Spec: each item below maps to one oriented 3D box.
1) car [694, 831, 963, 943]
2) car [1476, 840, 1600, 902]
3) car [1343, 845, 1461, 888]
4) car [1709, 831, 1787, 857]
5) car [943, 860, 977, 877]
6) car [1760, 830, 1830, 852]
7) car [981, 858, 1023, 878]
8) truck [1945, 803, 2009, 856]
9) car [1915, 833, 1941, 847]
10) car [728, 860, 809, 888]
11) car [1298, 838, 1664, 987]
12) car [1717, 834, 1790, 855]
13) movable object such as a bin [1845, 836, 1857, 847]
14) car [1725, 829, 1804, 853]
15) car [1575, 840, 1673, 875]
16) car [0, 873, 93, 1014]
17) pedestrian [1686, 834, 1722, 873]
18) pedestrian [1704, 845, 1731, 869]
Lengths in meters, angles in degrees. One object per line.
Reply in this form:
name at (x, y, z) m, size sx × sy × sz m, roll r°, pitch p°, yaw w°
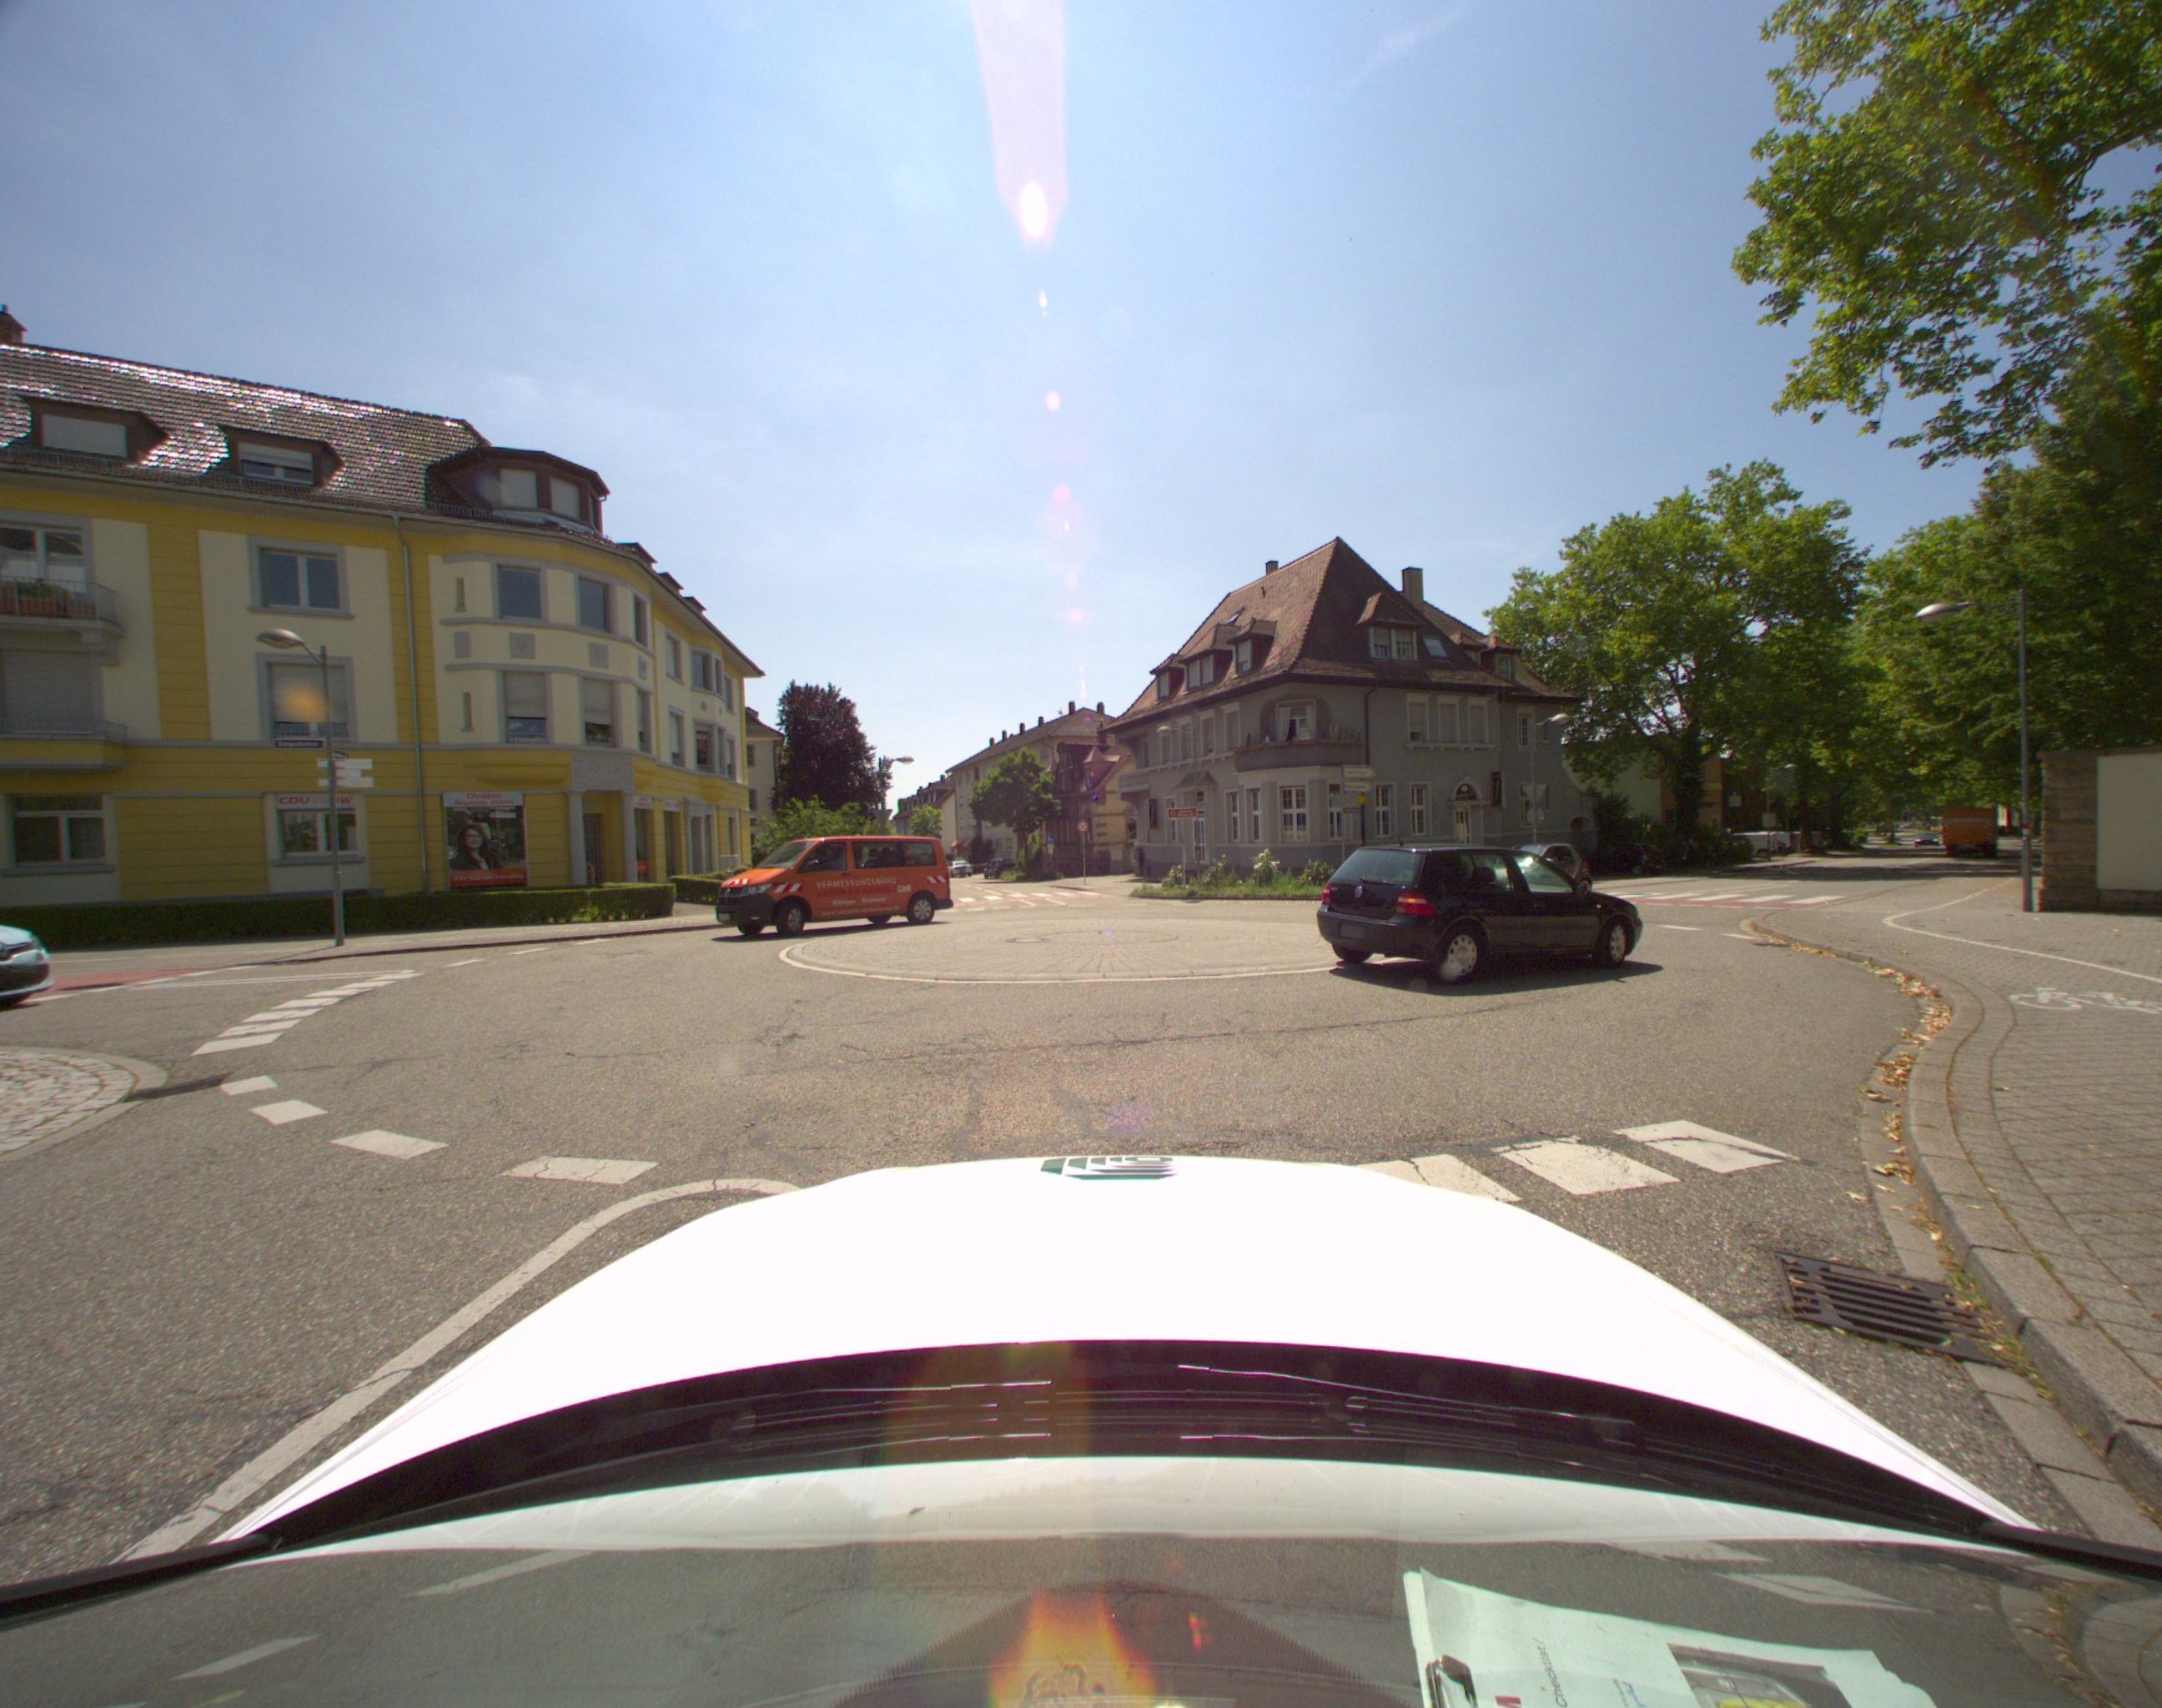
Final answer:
car at (-5.119, 0.551, 17.133) m, size 1.926 × 1.959 × 5.051 m, roll -1°, pitch 1°, yaw 44°
car at (12.284, 0.429, 21.904) m, size 2.793 × 1.530 × 1.557 m, roll -1°, pitch 0°, yaw -25°
car at (11.658, 0.449, 29.815) m, size 1.728 × 1.460 × 3.758 m, roll -1°, pitch 0°, yaw -28°
car at (47.001, -0.718, 57.444) m, size 1.878 × 1.792 × 3.953 m, roll -1°, pitch 2°, yaw -41°
car at (-11.219, 1.360, 75.460) m, size 2.003 × 1.509 × 4.383 m, roll -1°, pitch 0°, yaw -24°
car at (58.850, -1.083, 67.168) m, size 1.913 × 1.804 × 4.093 m, roll -1°, pitch 2°, yaw -41°
car at (-6.317, 1.101, 64.462) m, size 2.003 × 1.509 × 4.383 m, roll -1°, pitch 0°, yaw -24°
truck at (56.922, -1.469, 51.709) m, size 5.797 × 3.134 × 2.351 m, roll 0°, pitch -1°, yaw -39°
car at (89.839, -1.493, 86.331) m, size 4.416 × 1.426 × 1.753 m, roll -1°, pitch 0°, yaw -42°
car at (-19.463, 1.222, 50.778) m, size 4.433 × 1.509 × 1.980 m, roll -1°, pitch 0°, yaw -31°
car at (4.733, 0.548, 9.614) m, size 4.063 × 1.447 × 1.703 m, roll -1°, pitch 1°, yaw -24°
car at (50.043, -0.706, 60.639) m, size 1.878 × 1.515 × 3.953 m, roll -1°, pitch 2°, yaw -41°
movable object such as a bin at (73.643, -1.233, 77.881) m, size 0.622 × 1.048 × 0.619 m, roll -1°, pitch 0°, yaw -32°
car at (52.252, -0.996, 62.276) m, size 1.913 × 1.804 × 4.385 m, roll -1°, pitch 2°, yaw -41°
car at (25.210, 0.160, 37.876) m, size 1.728 × 1.546 × 3.361 m, roll -1°, pitch 0°, yaw -28°
car at (-14.086, 1.035, 8.767) m, size 4.156 × 1.525 × 1.652 m, roll -1°, pitch 1°, yaw -15°
pedestrian at (28.314, -0.036, 37.018) m, size 1.115 × 1.742 × 0.867 m, roll -1°, pitch -1°, yaw -27°
pedestrian at (30.853, 0.157, 39.495) m, size 0.900 × 1.122 × 0.749 m, roll -1°, pitch 0°, yaw -31°
